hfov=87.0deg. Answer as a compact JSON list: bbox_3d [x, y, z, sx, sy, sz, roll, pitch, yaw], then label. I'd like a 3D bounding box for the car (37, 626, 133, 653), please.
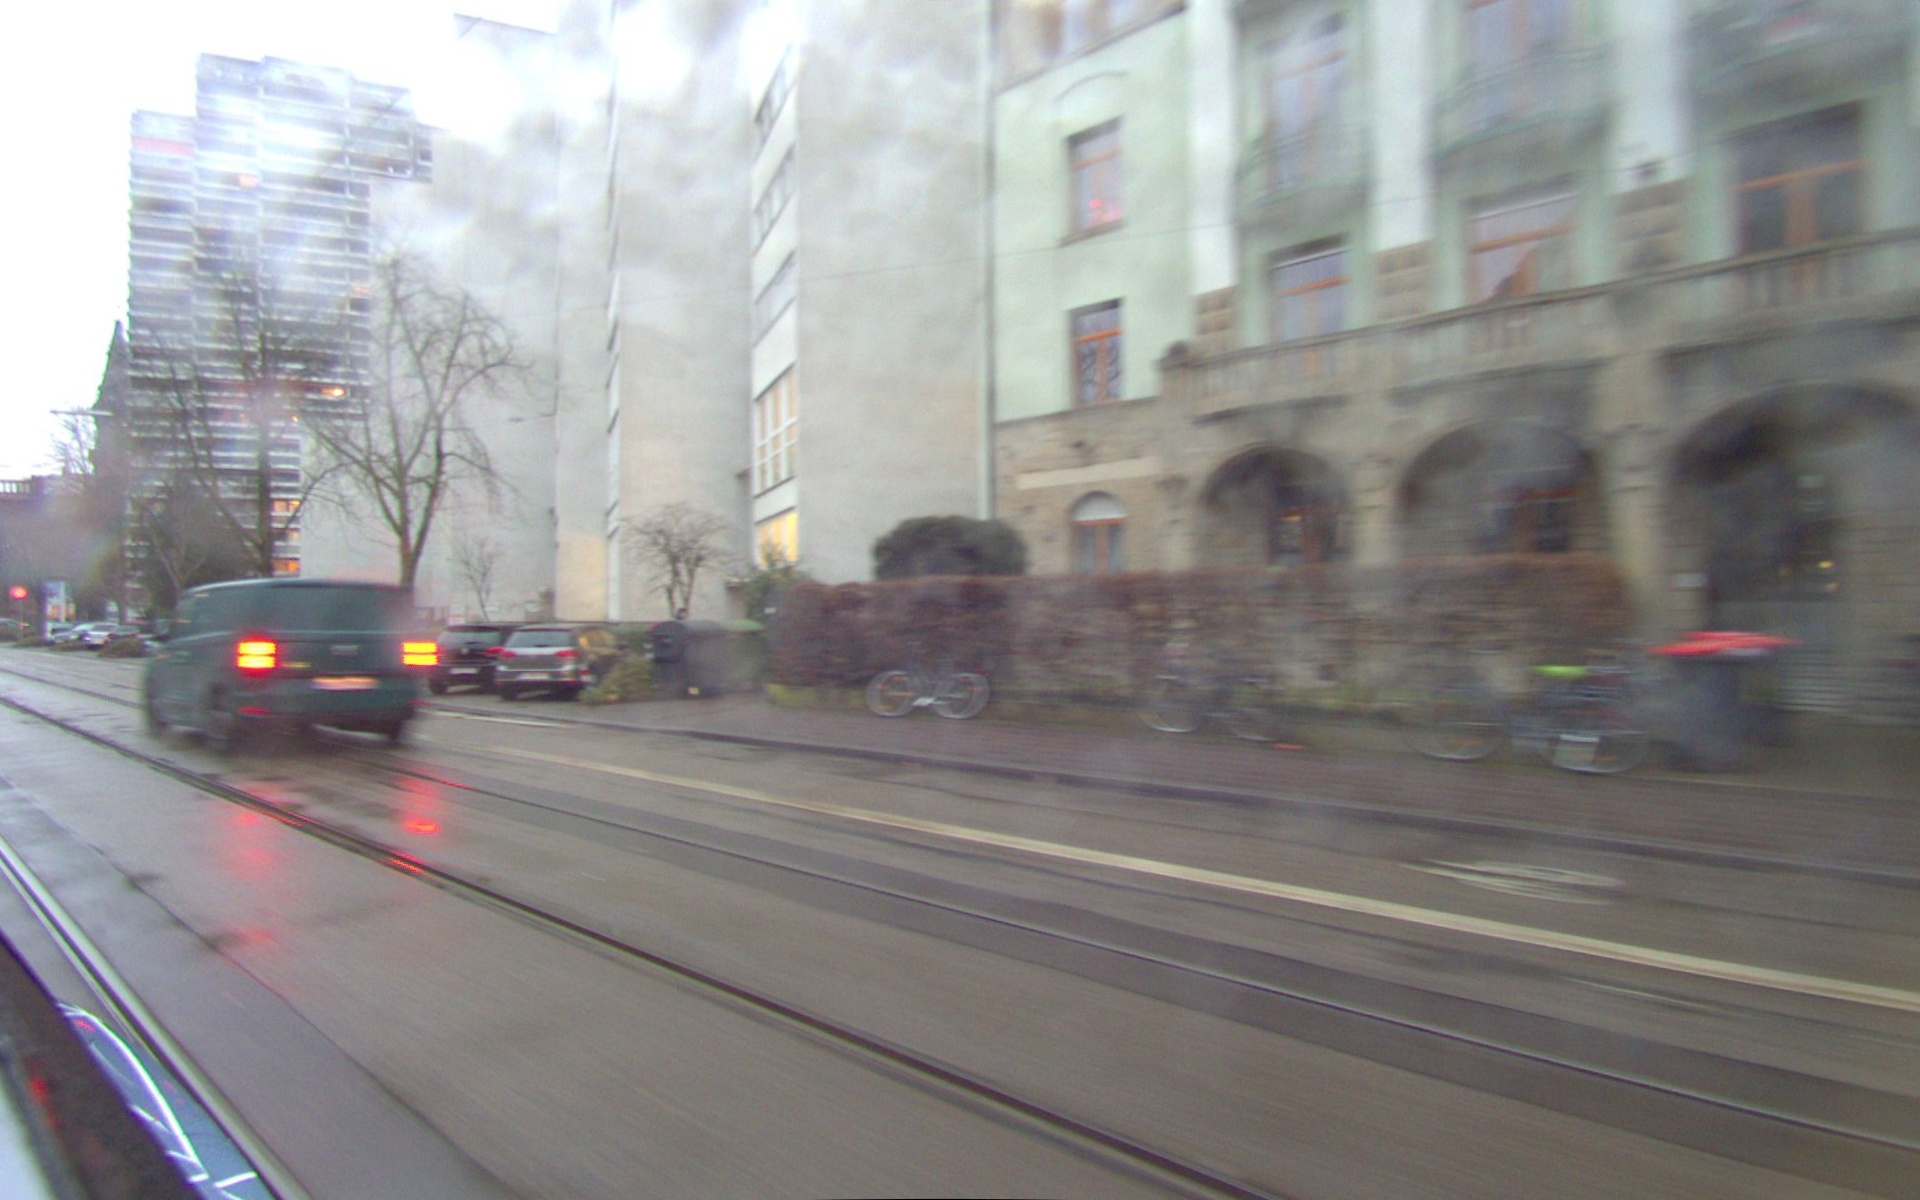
[{"bbox_3d":[-47.487,2.118,55.050,1.829,1.389,4.000,-1,-2,-1],"label":"car"}]

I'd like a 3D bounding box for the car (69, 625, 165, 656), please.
[{"bbox_3d":[-42.505,2.041,51.156,1.765,1.457,4.004,0,-2,-5],"label":"car"}]

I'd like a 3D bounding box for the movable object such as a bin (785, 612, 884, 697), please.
[{"bbox_3d":[-2.281,0.966,18.322,1.248,1.461,1.327,1,-3,-42],"label":"movable object such as a bin"}]

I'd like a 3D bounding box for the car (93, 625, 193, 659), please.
[{"bbox_3d":[-37.880,1.943,47.051,1.671,1.504,3.856,0,-2,-3],"label":"car"}]

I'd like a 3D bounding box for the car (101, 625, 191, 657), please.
[{"bbox_3d":[-39.946,2.026,49.746,1.705,1.504,3.451,-1,-2,-1],"label":"car"}]

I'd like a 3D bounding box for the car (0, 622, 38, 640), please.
[{"bbox_3d":[-82.524,2.664,87.612,3.939,1.497,1.673,1,-3,-43],"label":"car"}]

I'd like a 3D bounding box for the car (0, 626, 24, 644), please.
[{"bbox_3d":[-80.805,2.895,84.452,3.939,1.497,1.673,1,-3,-43],"label":"car"}]

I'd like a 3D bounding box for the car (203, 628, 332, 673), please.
[{"bbox_3d":[-22.842,1.644,33.600,1.722,1.362,4.354,1,-2,-7],"label":"car"}]

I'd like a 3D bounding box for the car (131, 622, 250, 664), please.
[{"bbox_3d":[-30.209,1.678,39.874,1.712,1.575,4.000,-1,-2,-1],"label":"car"}]

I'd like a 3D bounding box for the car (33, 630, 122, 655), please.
[{"bbox_3d":[-52.345,2.521,60.110,1.829,1.410,4.000,-1,-2,-1],"label":"car"}]

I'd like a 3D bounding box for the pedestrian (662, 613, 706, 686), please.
[{"bbox_3d":[-6.599,1.175,24.194,0.972,1.690,0.590,-2,-3,41],"label":"pedestrian"}]

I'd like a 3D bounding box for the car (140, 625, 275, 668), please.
[{"bbox_3d":[-27.814,1.698,37.575,1.716,1.455,3.990,1,-2,8],"label":"car"}]

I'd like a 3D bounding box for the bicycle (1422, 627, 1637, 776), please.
[{"bbox_3d":[5.062,0.862,9.056,1.591,1.222,0.687,-2,-2,32],"label":"bicycle"}]

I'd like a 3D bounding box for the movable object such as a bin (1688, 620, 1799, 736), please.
[{"bbox_3d":[8.060,0.786,10.445,0.739,1.146,0.689,-2,-2,27],"label":"movable object such as a bin"}]

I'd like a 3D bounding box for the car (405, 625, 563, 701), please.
[{"bbox_3d":[-10.219,1.296,22.064,1.804,1.482,4.004,0,-1,-4],"label":"car"}]

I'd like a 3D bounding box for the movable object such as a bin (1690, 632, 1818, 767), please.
[{"bbox_3d":[7.114,0.865,9.105,0.739,1.146,0.689,-2,-2,27],"label":"movable object such as a bin"}]

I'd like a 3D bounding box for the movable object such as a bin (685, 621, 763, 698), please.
[{"bbox_3d":[-4.646,1.152,19.968,1.103,1.461,1.085,-1,-2,20],"label":"movable object such as a bin"}]

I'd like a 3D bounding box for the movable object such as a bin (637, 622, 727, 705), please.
[{"bbox_3d":[-5.099,1.157,18.627,1.103,1.461,1.259,-1,-2,19],"label":"movable object such as a bin"}]

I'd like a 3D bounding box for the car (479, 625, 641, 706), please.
[{"bbox_3d":[-7.898,1.260,20.395,1.821,1.439,4.001,-1,-2,-2],"label":"car"}]

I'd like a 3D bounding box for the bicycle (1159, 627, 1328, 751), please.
[{"bbox_3d":[2.965,0.904,10.643,1.591,1.222,0.624,-2,-2,32],"label":"bicycle"}]

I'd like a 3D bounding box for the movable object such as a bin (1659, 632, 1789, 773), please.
[{"bbox_3d":[6.570,0.858,8.747,0.739,1.146,0.689,-2,-2,27],"label":"movable object such as a bin"}]

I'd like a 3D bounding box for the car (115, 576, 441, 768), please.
[{"bbox_3d":[-8.674,0.824,12.680,5.095,1.937,2.025,-2,-3,40],"label":"car"}]

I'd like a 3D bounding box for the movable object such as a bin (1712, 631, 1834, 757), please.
[{"bbox_3d":[7.784,0.880,9.727,0.739,1.146,0.689,-2,-2,27],"label":"movable object such as a bin"}]

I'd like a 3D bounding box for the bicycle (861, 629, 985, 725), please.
[{"bbox_3d":[-0.516,1.021,13.723,1.593,1.222,0.686,-2,-3,36],"label":"bicycle"}]
